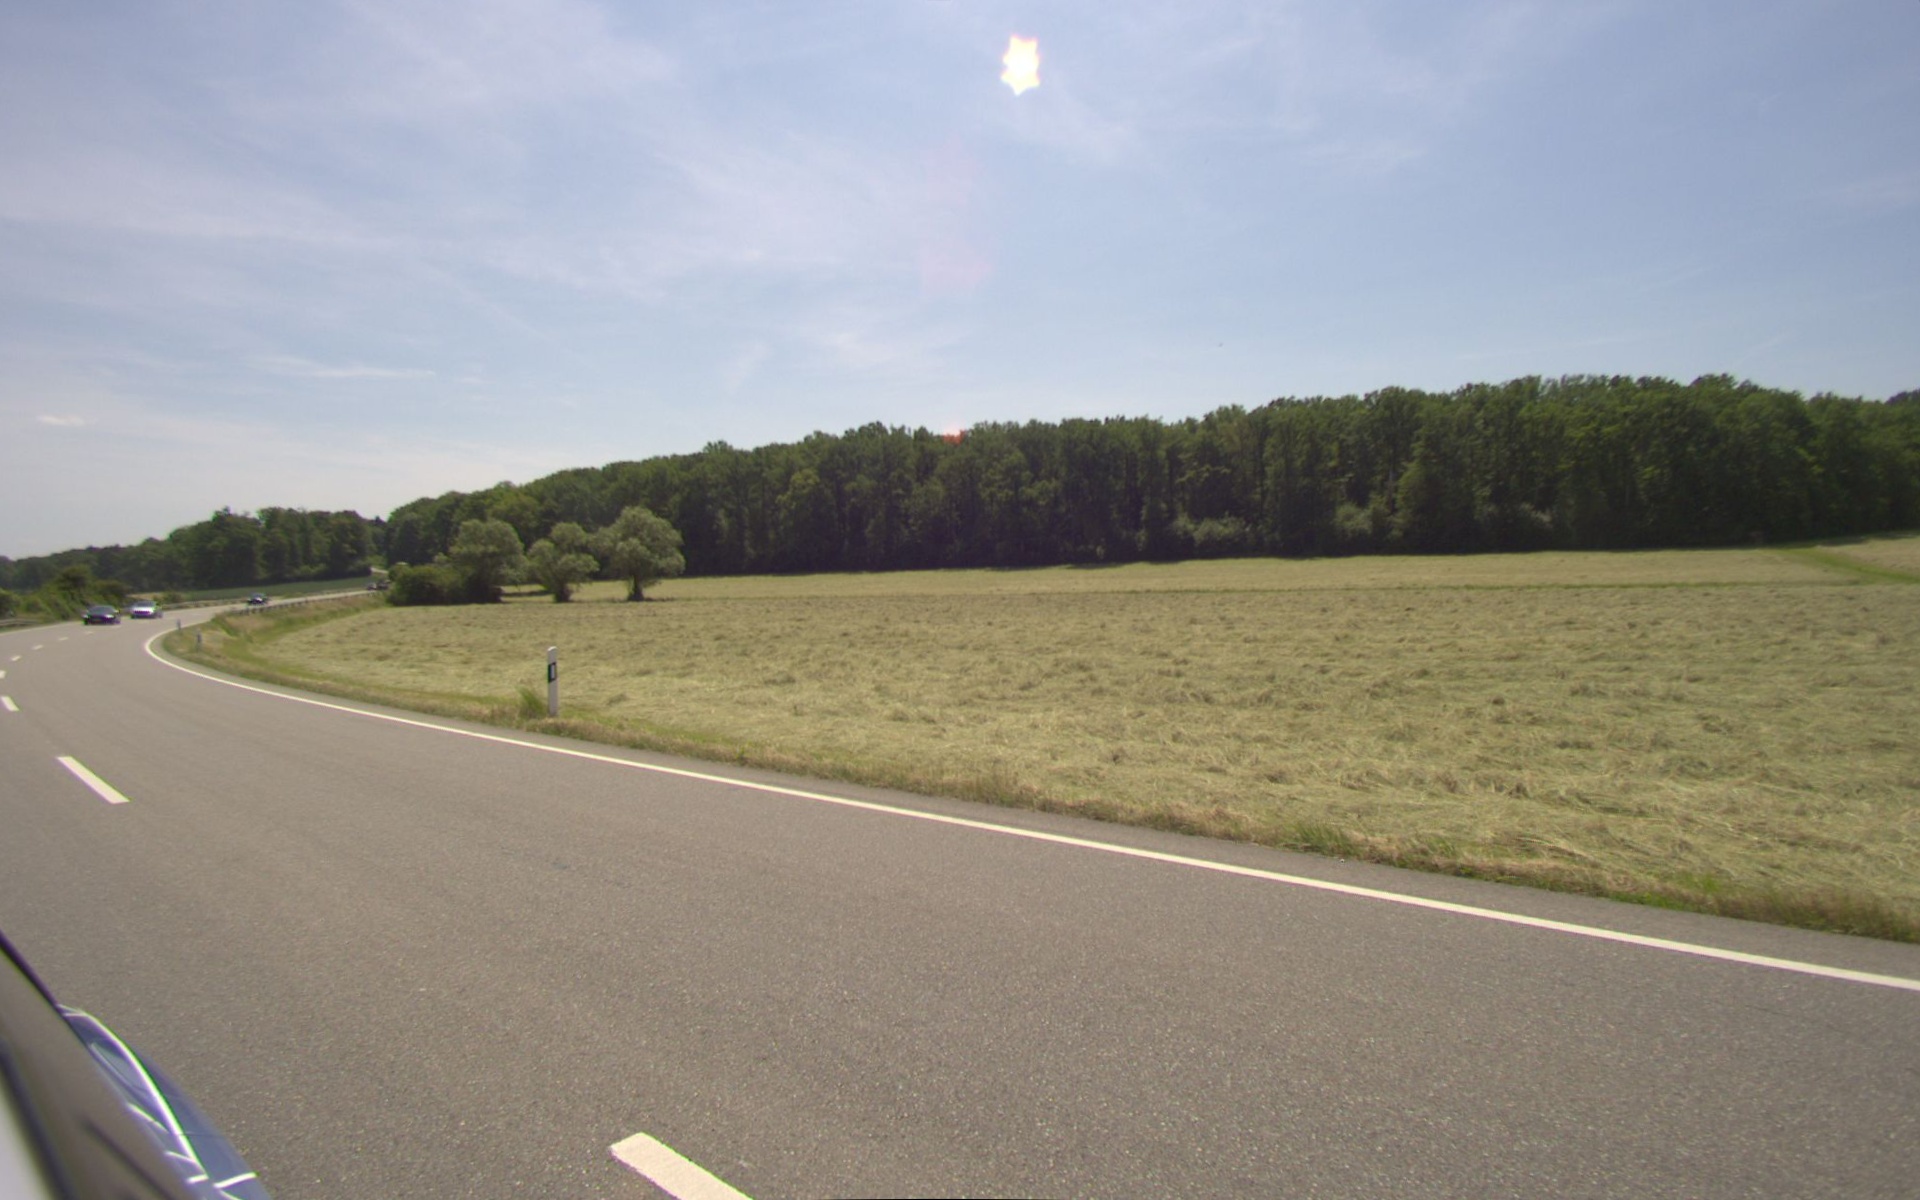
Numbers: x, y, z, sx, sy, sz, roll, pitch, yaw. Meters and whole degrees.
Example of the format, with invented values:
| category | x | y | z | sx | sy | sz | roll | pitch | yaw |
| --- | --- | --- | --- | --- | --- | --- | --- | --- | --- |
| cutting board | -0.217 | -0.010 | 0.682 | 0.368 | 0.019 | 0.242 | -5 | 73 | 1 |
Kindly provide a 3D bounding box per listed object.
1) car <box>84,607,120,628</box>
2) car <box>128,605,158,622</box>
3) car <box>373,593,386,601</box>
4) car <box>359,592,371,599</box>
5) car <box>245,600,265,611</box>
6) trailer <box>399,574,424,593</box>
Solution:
| category | x | y | z | sx | sy | sz | roll | pitch | yaw |
| --- | --- | --- | --- | --- | --- | --- | --- | --- | --- |
| car | -65.735 | 1.321 | 77.607 | 1.595 | 1.447 | 3.453 | -2 | 2 | -32 |
| car | -74.814 | 1.238 | 92.690 | 1.595 | 1.447 | 3.454 | -2 | 2 | -30 |
| car | -114.828 | -0.649 | 200.271 | 1.676 | 1.480 | 4.214 | 1 | 0 | -21 |
| car | -123.217 | -0.889 | 209.667 | 1.595 | 1.447 | 3.455 | -1 | 2 | -21 |
| car | -95.256 | 0.717 | 136.792 | 1.595 | 1.447 | 3.455 | -1 | 2 | -25 |
| trailer | -130.014 | -3.980 | 239.925 | 3.195 | 4.181 | 14.492 | 1 | 1 | -21 |
